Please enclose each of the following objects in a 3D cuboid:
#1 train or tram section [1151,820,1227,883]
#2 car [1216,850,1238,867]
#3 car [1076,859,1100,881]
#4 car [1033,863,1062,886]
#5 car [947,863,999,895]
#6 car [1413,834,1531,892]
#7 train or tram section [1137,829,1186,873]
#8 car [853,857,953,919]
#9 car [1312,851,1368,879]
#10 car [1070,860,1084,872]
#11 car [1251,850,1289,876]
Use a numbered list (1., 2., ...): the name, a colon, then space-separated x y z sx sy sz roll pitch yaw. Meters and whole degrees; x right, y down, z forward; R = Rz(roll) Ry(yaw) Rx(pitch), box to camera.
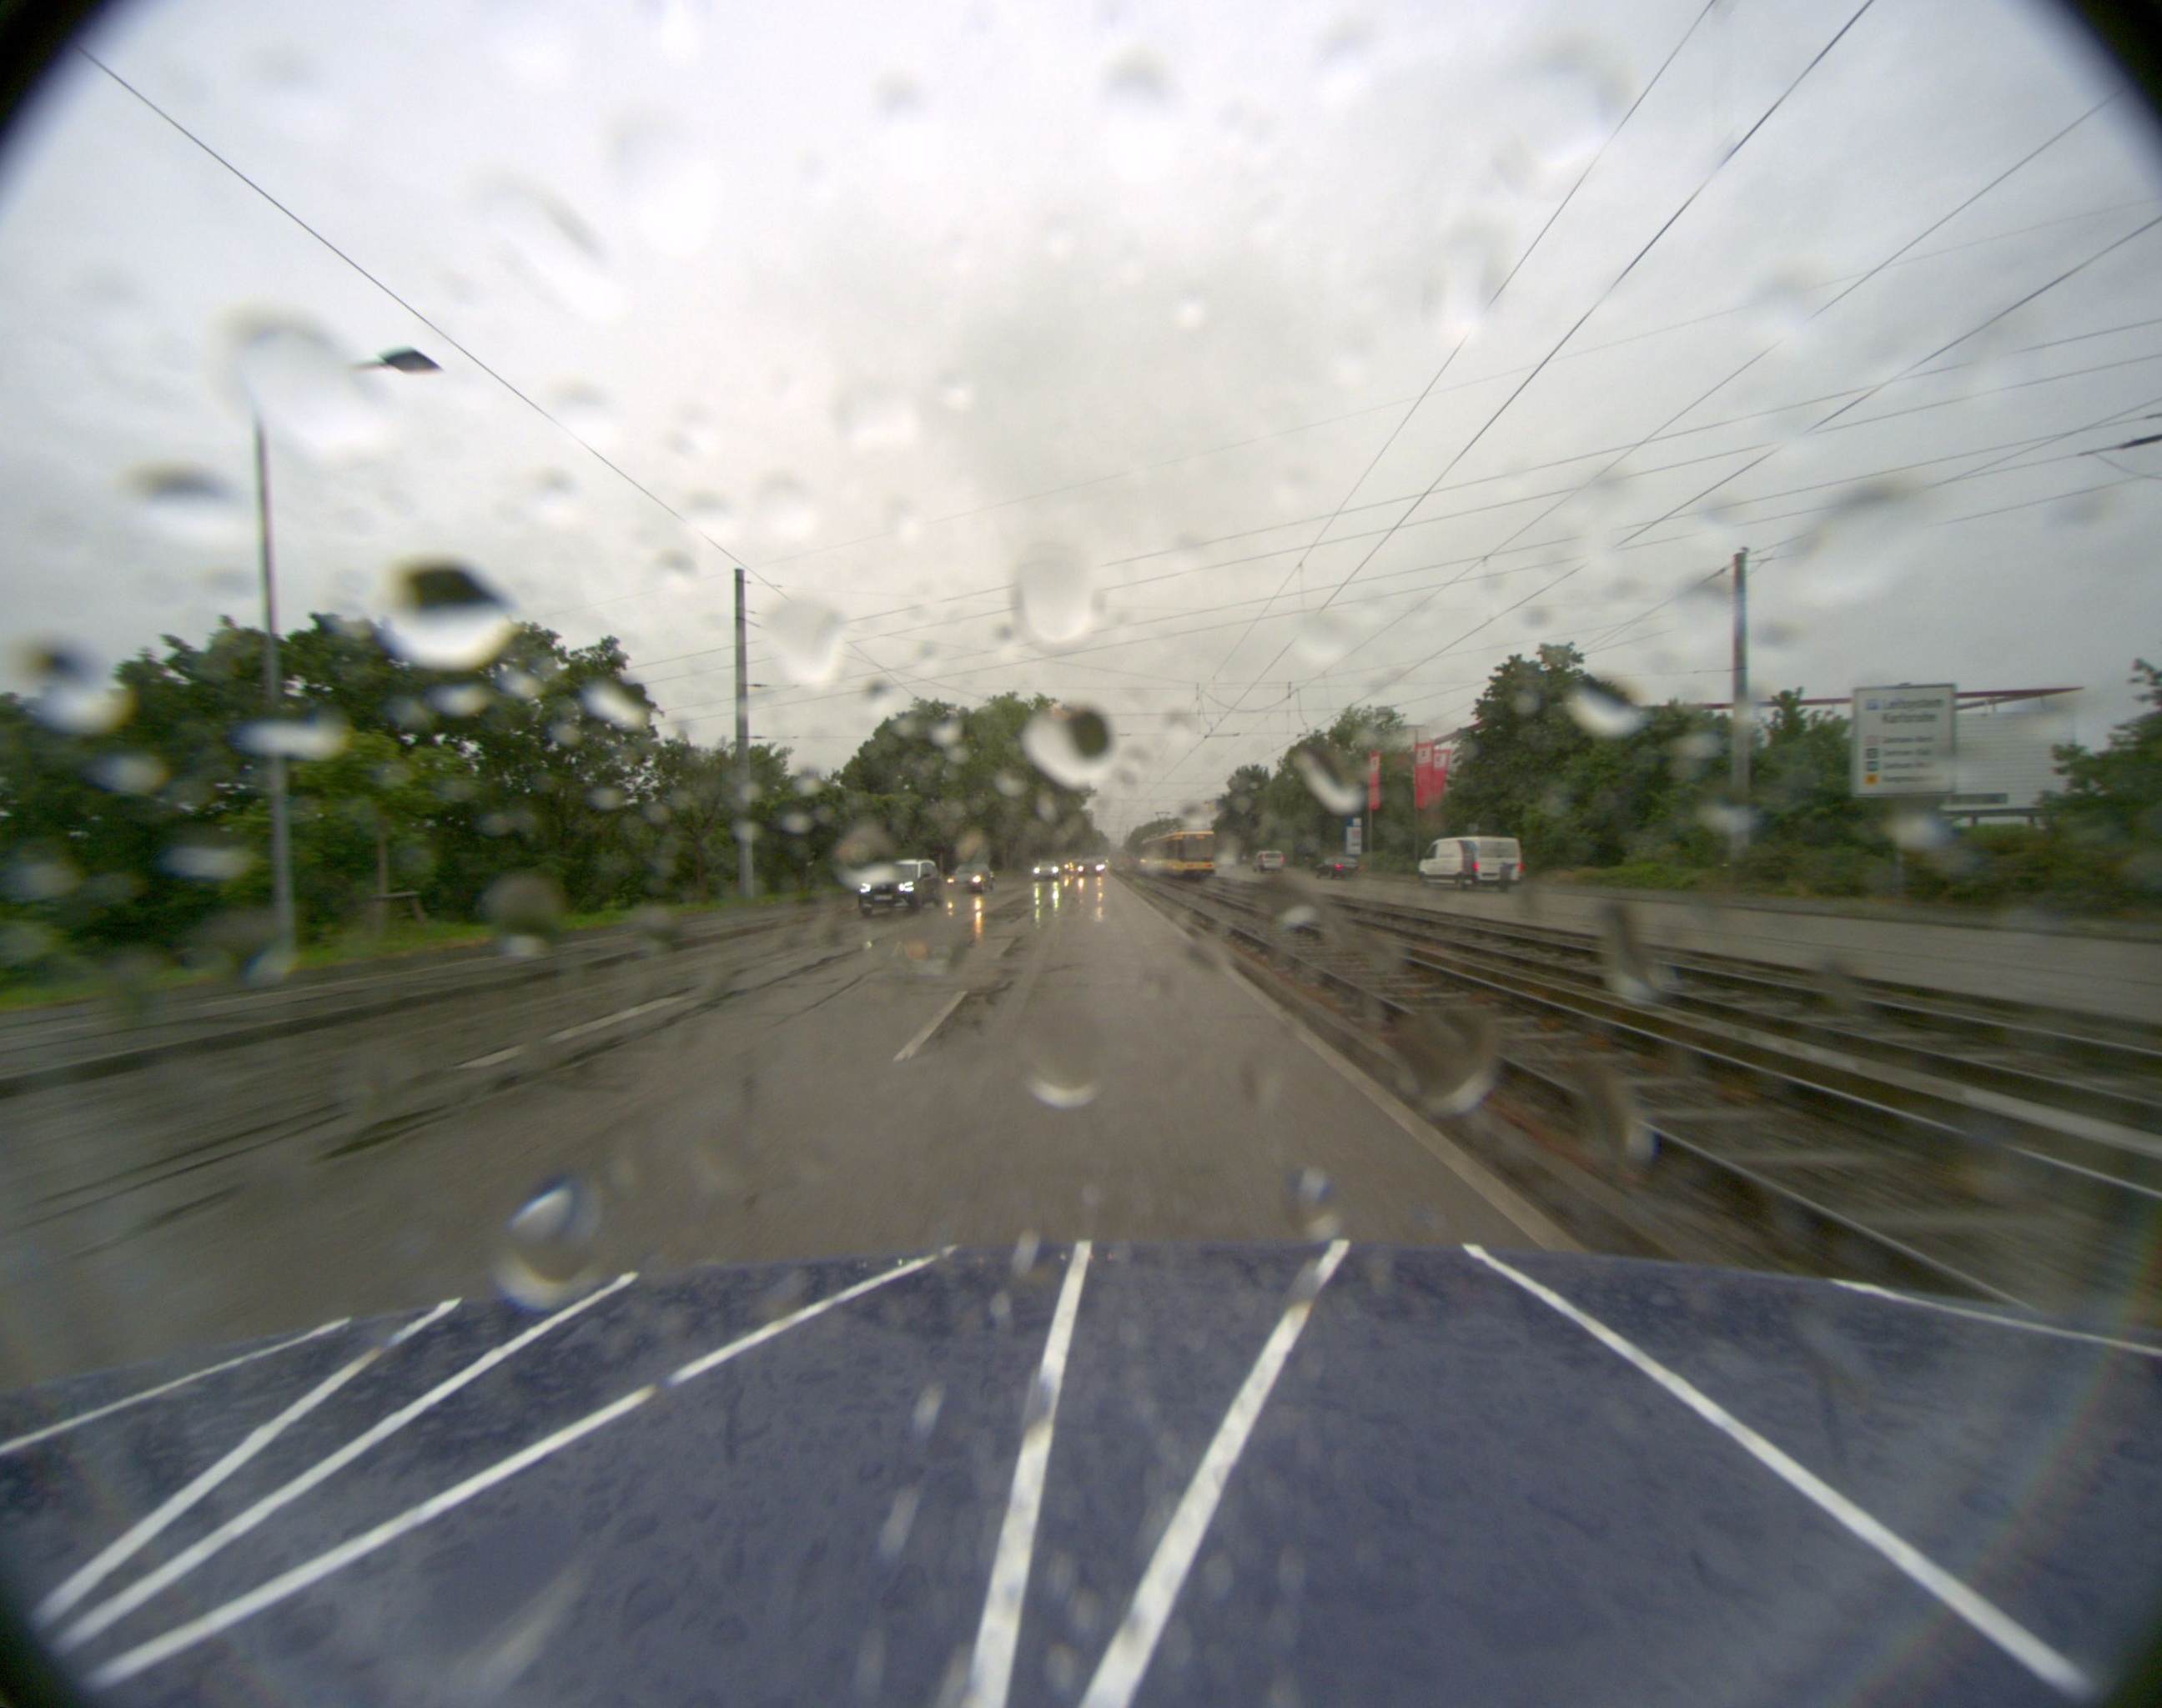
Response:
1. train or tram section: 7.452 -0.053 55.979 2.893 3.683 19.531 -2 -1 1
2. car: 17.802 0.578 92.746 1.867 1.903 4.000 -2 -1 0
3. car: 0.620 1.313 62.124 1.815 1.692 4.001 -2 -1 2
4. car: -2.288 1.397 52.839 1.807 1.521 3.645 -2 -1 0
5. car: -5.262 1.184 37.513 1.783 1.419 4.001 -2 -1 2
6. car: 17.137 0.404 33.767 2.156 2.284 5.983 2 -1 0
7. train or tram section: 7.623 -0.187 74.703 2.872 3.683 17.891 -2 -1 1
8. car: -5.492 1.002 24.109 1.797 1.692 4.764 -2 -1 2
9. car: 16.443 0.705 48.517 1.901 1.630 4.731 -2 -1 0
10. car: -0.539 1.621 104.656 1.846 1.572 3.838 -2 -1 0
11. car: 16.645 0.800 67.224 2.095 2.088 4.731 -2 -1 0
